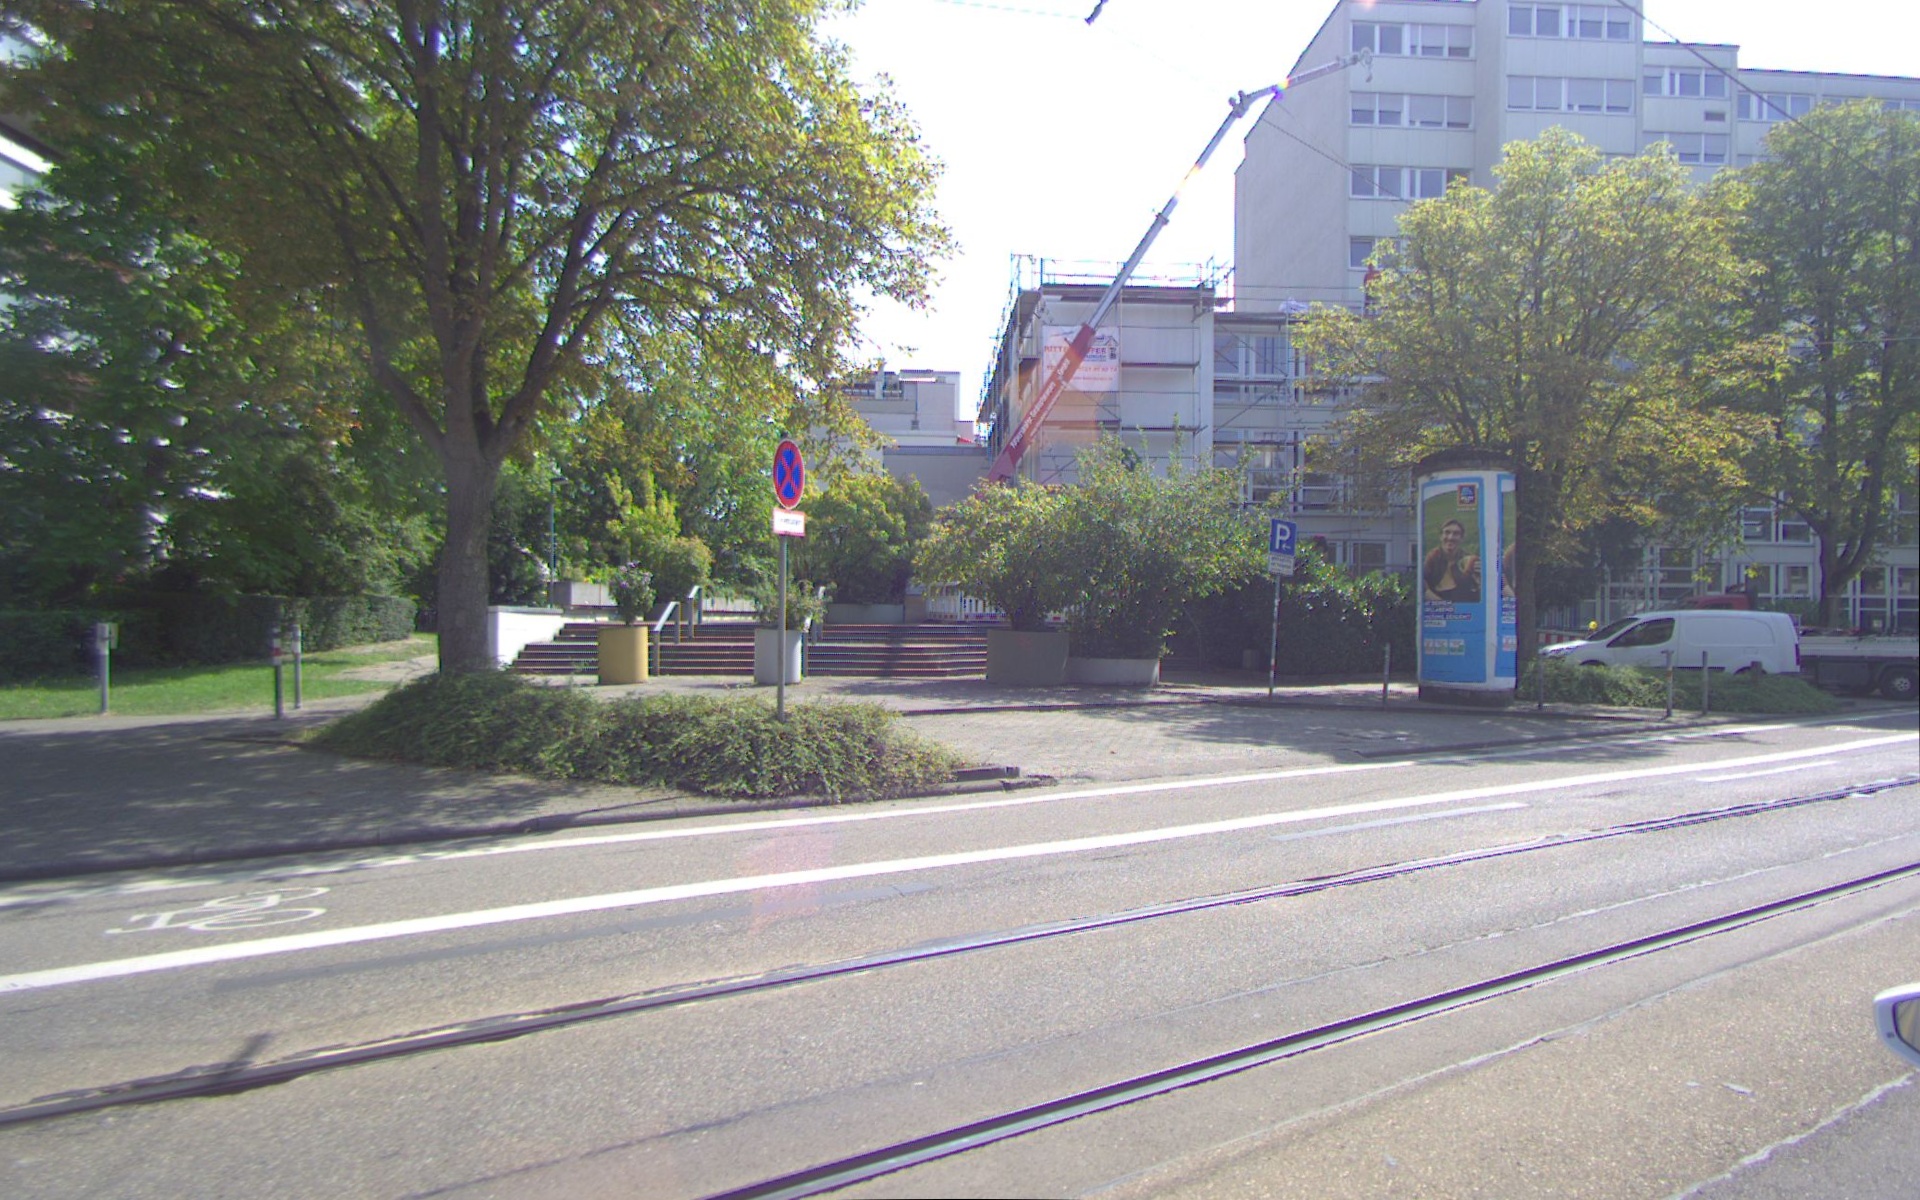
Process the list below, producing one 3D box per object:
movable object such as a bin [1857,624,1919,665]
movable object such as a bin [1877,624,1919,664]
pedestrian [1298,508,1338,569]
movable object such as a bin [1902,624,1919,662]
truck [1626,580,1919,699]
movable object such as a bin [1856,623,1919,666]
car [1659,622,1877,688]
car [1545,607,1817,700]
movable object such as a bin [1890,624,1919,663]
[{"bbox_3d":[36.525,1.718,39.420,1.338,1.580,1.675,1,-1,-30],"label":"movable object such as a bin"},{"bbox_3d":[38.065,1.735,40.204,1.338,1.580,1.675,1,-1,-30],"label":"movable object such as a bin"},{"bbox_3d":[10.656,-1.807,29.931,0.836,1.749,0.750,1,0,-12],"label":"pedestrian"},{"bbox_3d":[40.582,1.786,41.843,1.338,1.580,1.675,1,-1,-30],"label":"movable object such as a bin"},{"bbox_3d":[18.550,0.844,22.352,5.853,2.467,2.150,0,-1,22],"label":"truck"},{"bbox_3d":[35.514,1.674,38.315,1.338,1.580,1.675,1,-1,-30],"label":"movable object such as a bin"},{"bbox_3d":[19.648,1.312,24.616,3.783,1.528,1.721,0,-1,17],"label":"car"},{"bbox_3d":[14.705,1.056,20.782,4.200,1.795,1.826,0,-1,18],"label":"car"},{"bbox_3d":[39.359,1.753,41.045,1.338,1.580,1.675,1,-1,-30],"label":"movable object such as a bin"}]
